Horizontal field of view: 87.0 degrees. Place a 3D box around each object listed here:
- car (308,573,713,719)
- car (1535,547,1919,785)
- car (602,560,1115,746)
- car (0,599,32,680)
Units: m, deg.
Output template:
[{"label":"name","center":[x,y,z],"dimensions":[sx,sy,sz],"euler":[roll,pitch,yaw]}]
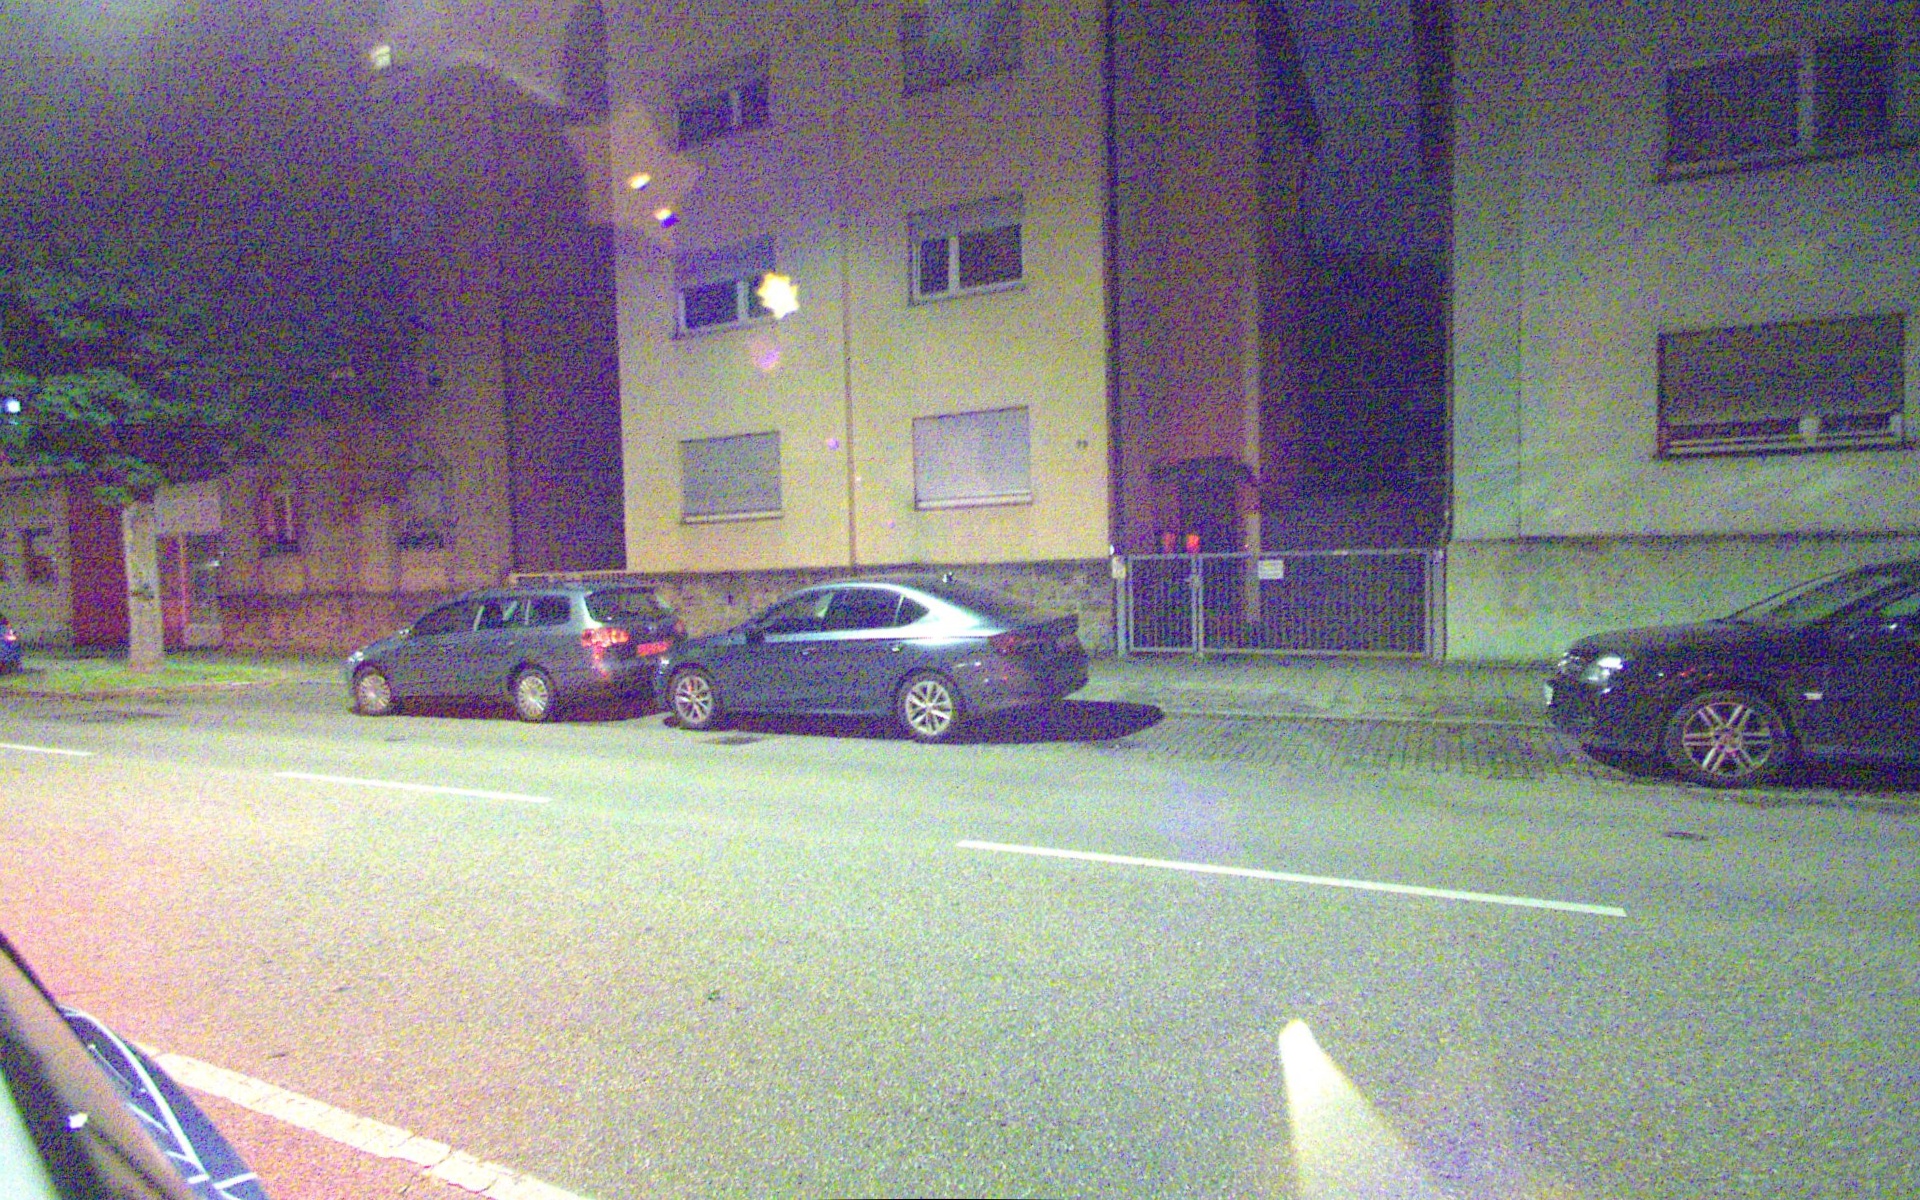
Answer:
[{"label":"car","center":[-5.447,0.488,12.179],"dimensions":[4.739,1.497,1.759],"euler":[-1,1,25]},{"label":"car","center":[6.319,0.361,6.455],"dimensions":[4.424,1.393,1.615],"euler":[-1,1,24]},{"label":"car","center":[-1.070,0.436,9.994],"dimensions":[4.837,1.497,1.759],"euler":[-1,1,26]},{"label":"car","center":[-20.039,0.801,19.575],"dimensions":[3.968,1.505,1.705],"euler":[-1,2,26]}]
